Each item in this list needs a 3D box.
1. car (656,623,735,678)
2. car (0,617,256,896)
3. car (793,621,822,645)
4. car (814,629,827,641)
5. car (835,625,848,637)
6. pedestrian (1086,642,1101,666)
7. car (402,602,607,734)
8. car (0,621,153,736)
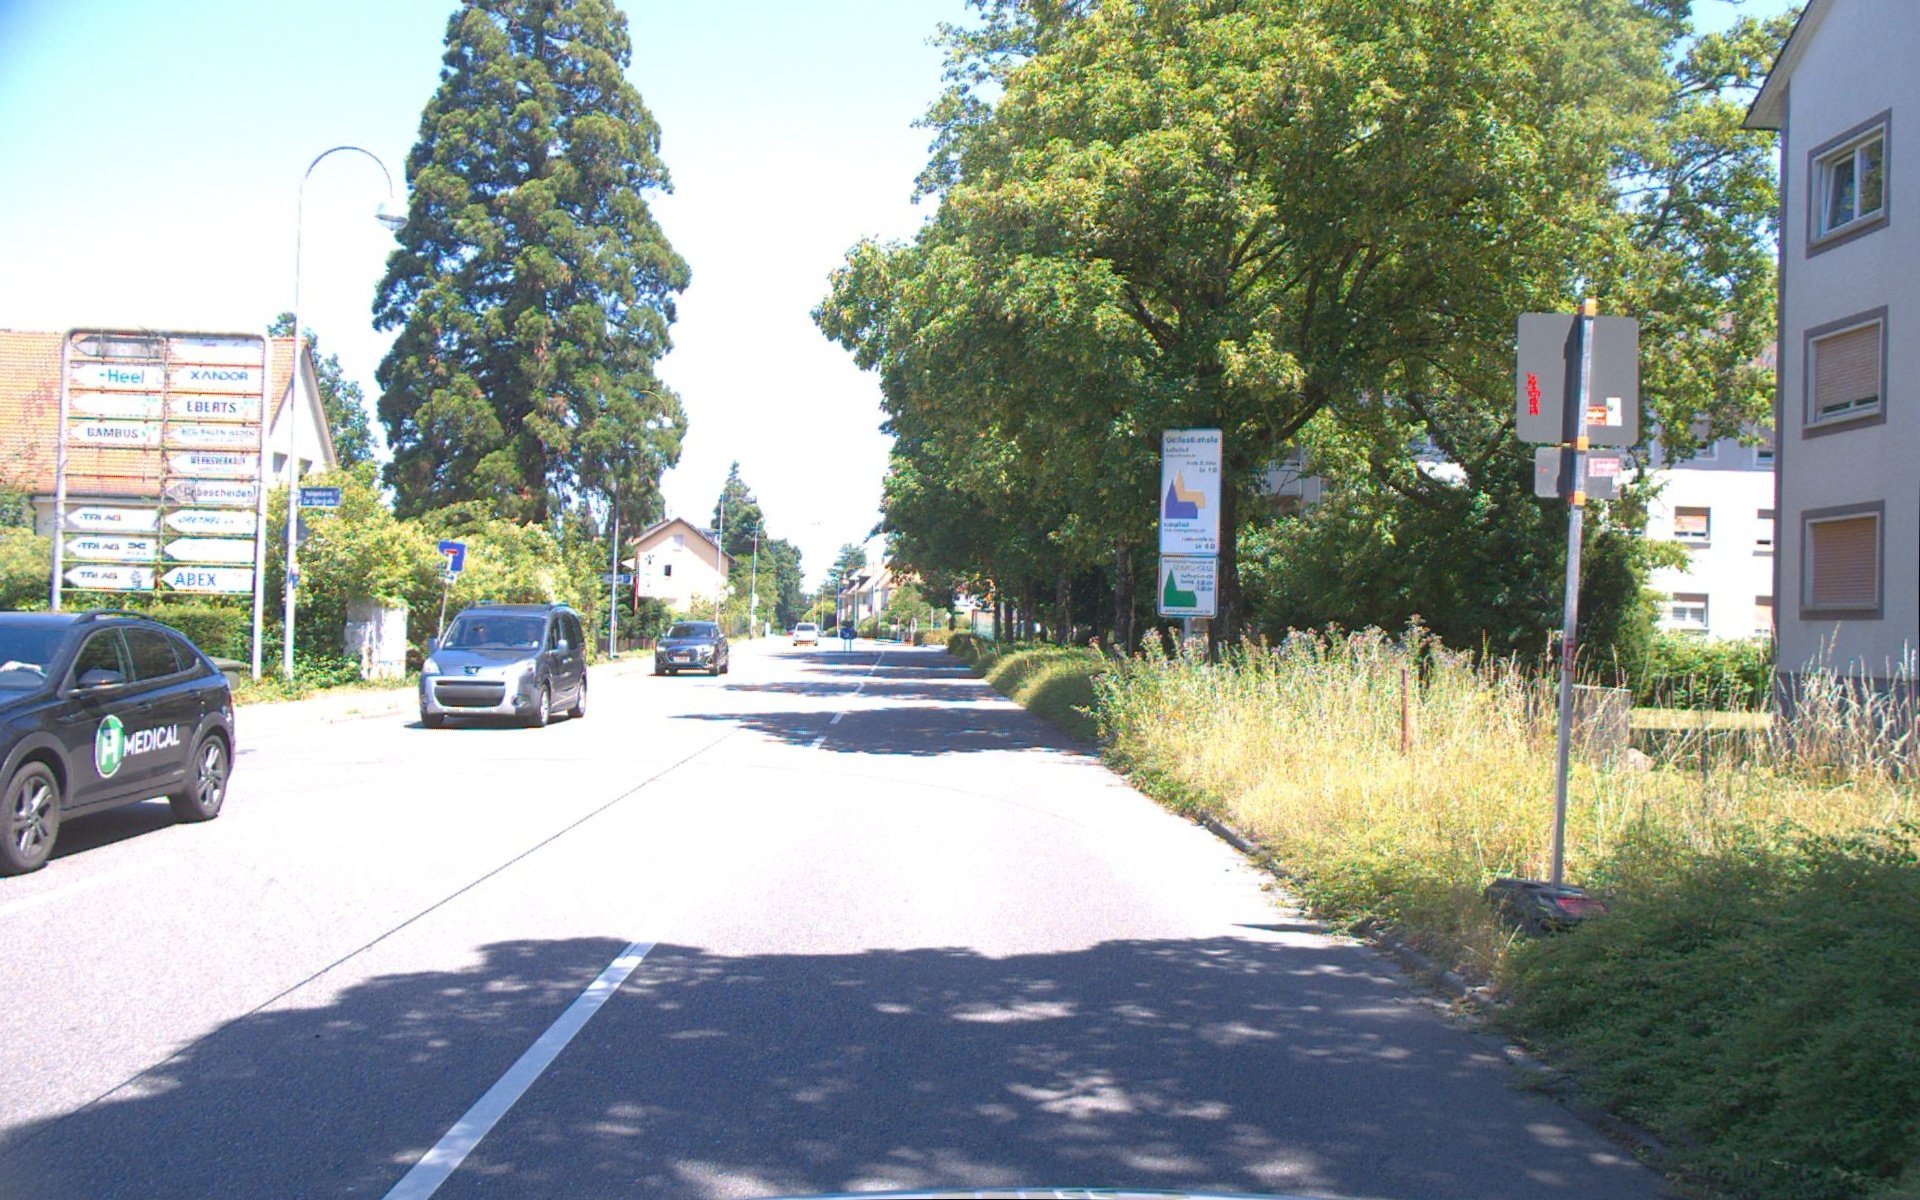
[{"bbox_3d":[-7.869,1.482,49.469,1.757,1.563,4.313,1,-1,-2],"label":"car"},{"bbox_3d":[-6.266,0.878,10.719,1.832,1.533,4.050,1,-1,-3],"label":"car"},{"bbox_3d":[-10.980,2.394,119.436,1.874,1.719,4.123,1,-1,-2],"label":"car"},{"bbox_3d":[-21.261,5.298,252.371,1.778,1.748,3.999,1,-1,-1],"label":"car"},{"bbox_3d":[-18.139,4.757,252.615,1.778,1.748,3.999,1,-1,-1],"label":"car"},{"bbox_3d":[6.778,2.754,83.858,0.689,1.180,0.754,1,-1,2],"label":"pedestrian"},{"bbox_3d":[-6.713,0.965,24.886,1.773,1.793,4.569,0,-1,0],"label":"car"},{"bbox_3d":[-14.017,1.066,23.749,4.046,1.531,1.779,1,-1,10],"label":"car"}]
